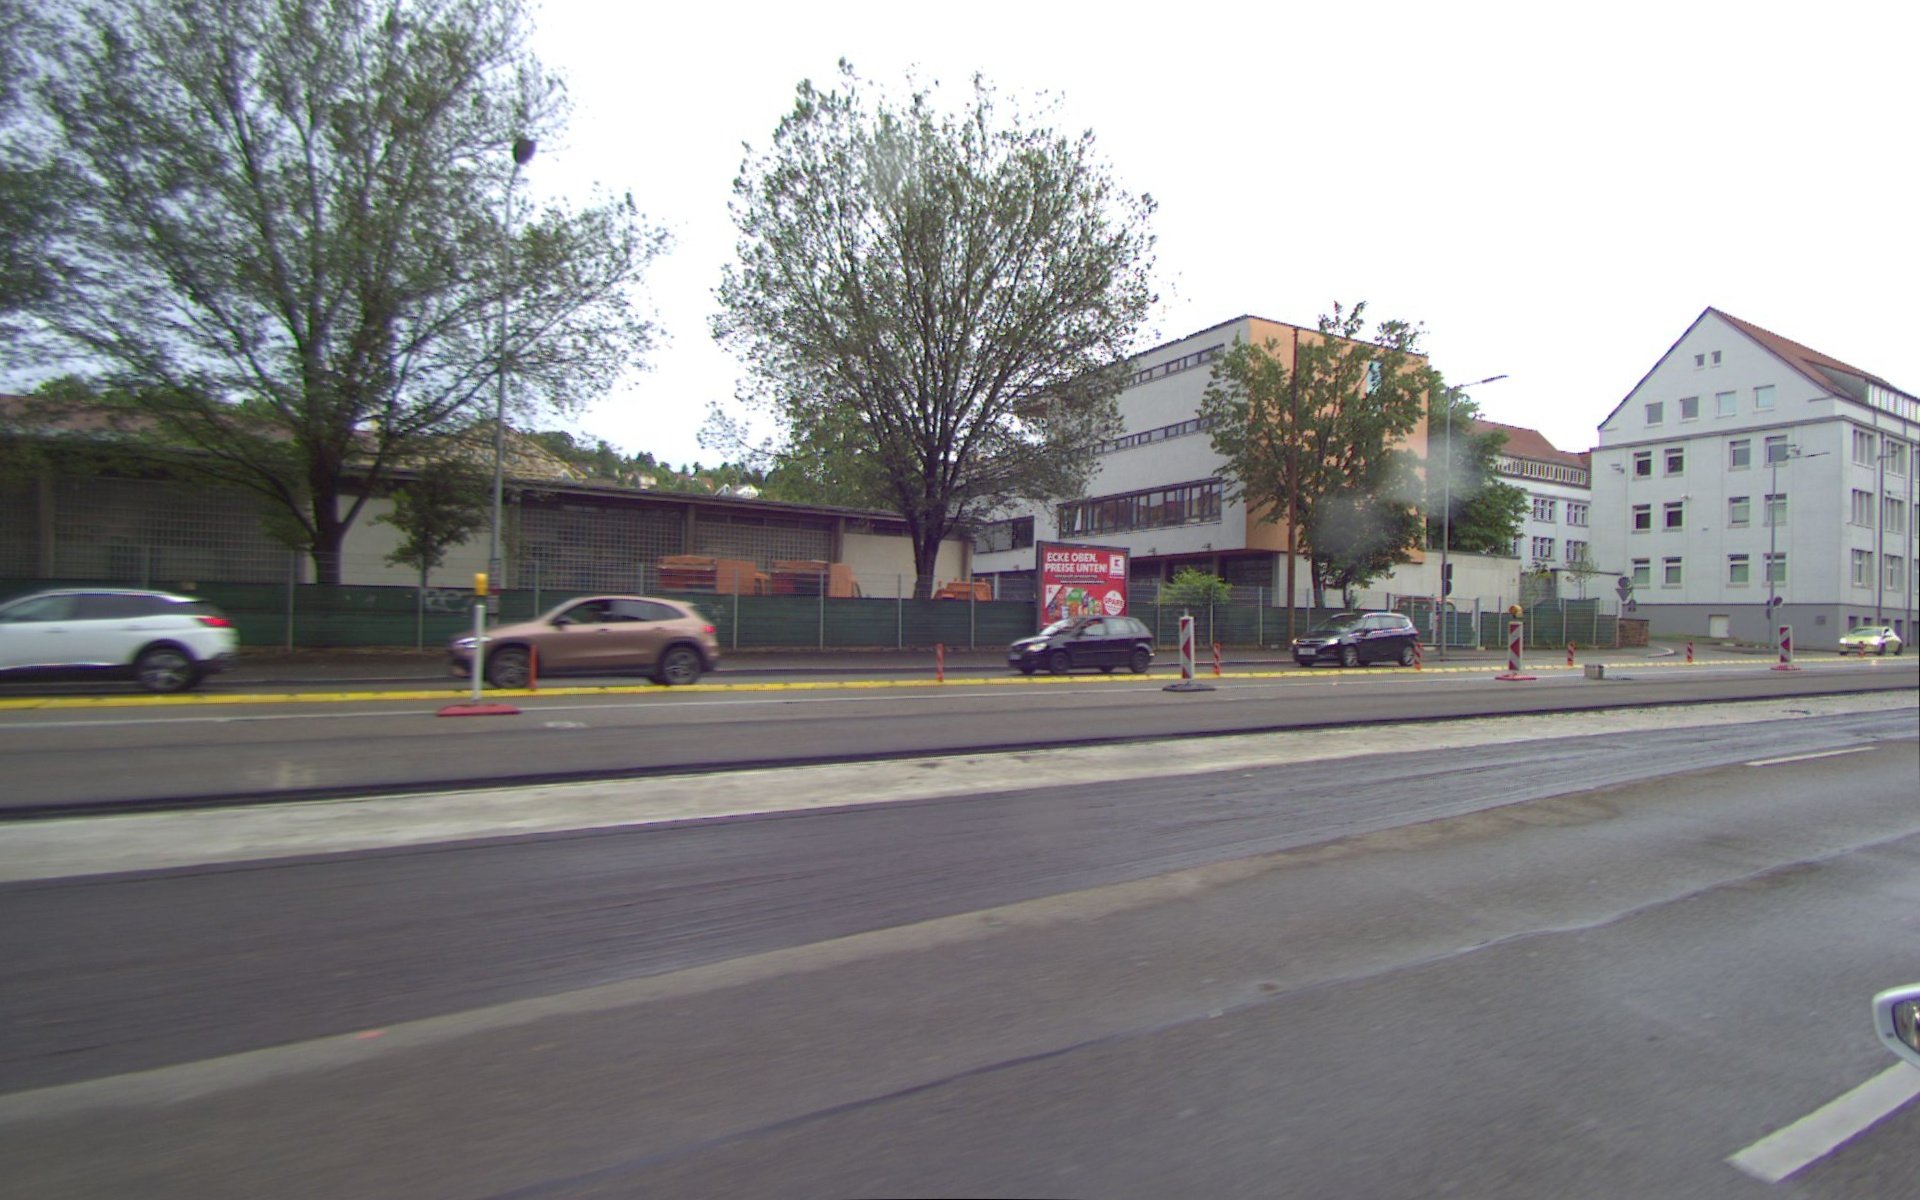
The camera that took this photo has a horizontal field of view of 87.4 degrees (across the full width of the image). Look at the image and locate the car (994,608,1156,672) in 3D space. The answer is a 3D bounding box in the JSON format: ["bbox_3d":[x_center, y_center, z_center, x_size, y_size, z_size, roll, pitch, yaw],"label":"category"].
[{"bbox_3d":[2.882,1.018,25.158,3.688,1.495,1.851,1,-3,-30],"label":"car"}]

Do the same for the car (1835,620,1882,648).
[{"bbox_3d":[46.076,1.755,51.579,1.534,1.386,3.789,-2,-3,38],"label":"car"}]

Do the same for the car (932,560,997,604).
[{"bbox_3d":[0.245,-0.673,39.011,1.959,1.548,4.026,1,-1,8],"label":"car"}]

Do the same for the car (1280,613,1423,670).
[{"bbox_3d":[12.111,1.283,31.013,4.278,1.651,1.851,1,-3,-30],"label":"car"}]

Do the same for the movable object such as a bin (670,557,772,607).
[{"bbox_3d":[-7.924,-0.554,33.712,1.718,1.548,4.026,1,-1,13],"label":"movable object such as a bin"}]

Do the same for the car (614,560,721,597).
[{"bbox_3d":[-9.886,-0.697,34.274,1.718,1.076,4.026,1,-1,13],"label":"car"}]

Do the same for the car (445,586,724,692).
[{"bbox_3d":[-6.478,0.688,17.443,4.313,1.640,1.851,1,-3,-30],"label":"car"}]

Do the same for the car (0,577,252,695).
[{"bbox_3d":[-13.947,0.584,15.848,4.313,1.728,1.851,1,-3,-30],"label":"car"}]

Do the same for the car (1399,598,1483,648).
[{"bbox_3d":[22.107,1.060,46.129,3.954,2.199,1.602,1,-1,-31],"label":"car"}]
